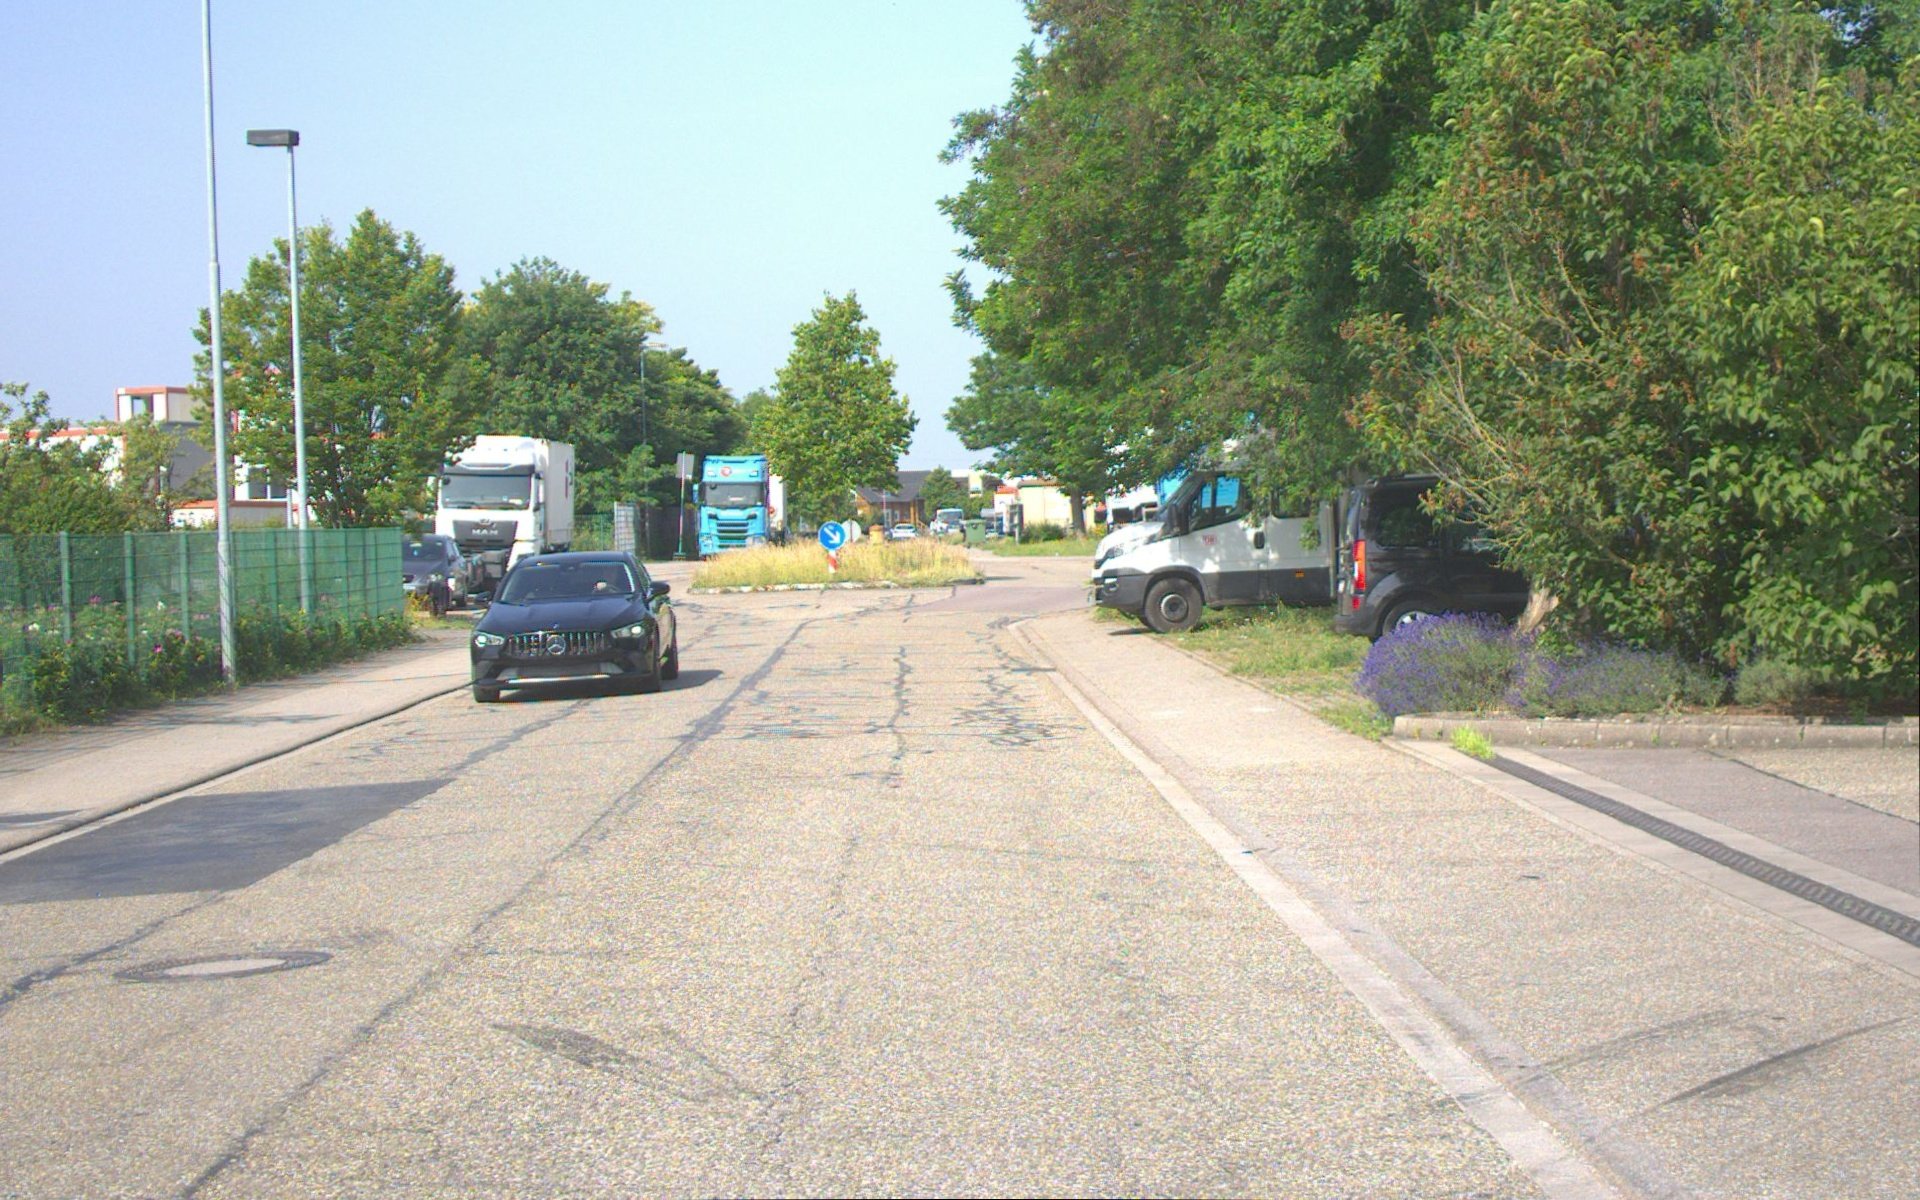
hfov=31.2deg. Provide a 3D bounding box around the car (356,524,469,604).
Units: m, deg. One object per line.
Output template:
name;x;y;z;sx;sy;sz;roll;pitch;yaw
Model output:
car;-11.453;-0.776;72.104;1.695;1.556;4.336;1;2;-1

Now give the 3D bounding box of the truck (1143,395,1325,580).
truck;5.825;-2.341;74.773;2.888;3.523;9.755;-5;1;0

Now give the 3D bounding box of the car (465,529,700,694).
car;-3.773;0.066;35.041;1.993;1.444;4.420;-4;1;-2

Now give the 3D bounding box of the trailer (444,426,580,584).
trailer;-11.547;-2.392;89.277;2.699;3.908;7.576;0;0;-1

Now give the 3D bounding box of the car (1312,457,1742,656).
car;5.682;-0.448;34.831;3.987;1.831;2.000;-2;1;1

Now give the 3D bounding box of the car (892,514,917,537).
car;-4.097;-5.511;254.006;1.718;1.655;3.824;0;0;-3

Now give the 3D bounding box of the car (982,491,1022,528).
car;2.081;-4.470;170.067;1.792;1.744;4.000;0;0;-2

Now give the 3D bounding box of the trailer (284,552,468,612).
trailer;-11.044;-0.366;65.508;2.546;0.922;6.711;2;1;-2

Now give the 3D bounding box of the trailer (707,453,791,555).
trailer;-8.458;-3.801;138.887;2.831;3.829;12.037;0;0;-1

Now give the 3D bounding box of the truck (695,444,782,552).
truck;-8.275;-3.757;129.360;2.825;3.812;9.673;0;0;-1

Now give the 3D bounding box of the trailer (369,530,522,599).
trailer;-11.678;-0.834;78.396;2.681;1.448;5.077;-1;2;1

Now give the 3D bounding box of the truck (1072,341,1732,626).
truck;5.721;-1.506;45.457;8.208;3.358;2.741;-2;0;-1

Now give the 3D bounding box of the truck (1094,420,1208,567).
truck;5.448;-3.046;98.714;2.746;3.968;4.000;-4;1;0

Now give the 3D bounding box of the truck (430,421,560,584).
truck;-11.442;-2.366;84.892;2.708;3.908;4.297;0;0;-1
